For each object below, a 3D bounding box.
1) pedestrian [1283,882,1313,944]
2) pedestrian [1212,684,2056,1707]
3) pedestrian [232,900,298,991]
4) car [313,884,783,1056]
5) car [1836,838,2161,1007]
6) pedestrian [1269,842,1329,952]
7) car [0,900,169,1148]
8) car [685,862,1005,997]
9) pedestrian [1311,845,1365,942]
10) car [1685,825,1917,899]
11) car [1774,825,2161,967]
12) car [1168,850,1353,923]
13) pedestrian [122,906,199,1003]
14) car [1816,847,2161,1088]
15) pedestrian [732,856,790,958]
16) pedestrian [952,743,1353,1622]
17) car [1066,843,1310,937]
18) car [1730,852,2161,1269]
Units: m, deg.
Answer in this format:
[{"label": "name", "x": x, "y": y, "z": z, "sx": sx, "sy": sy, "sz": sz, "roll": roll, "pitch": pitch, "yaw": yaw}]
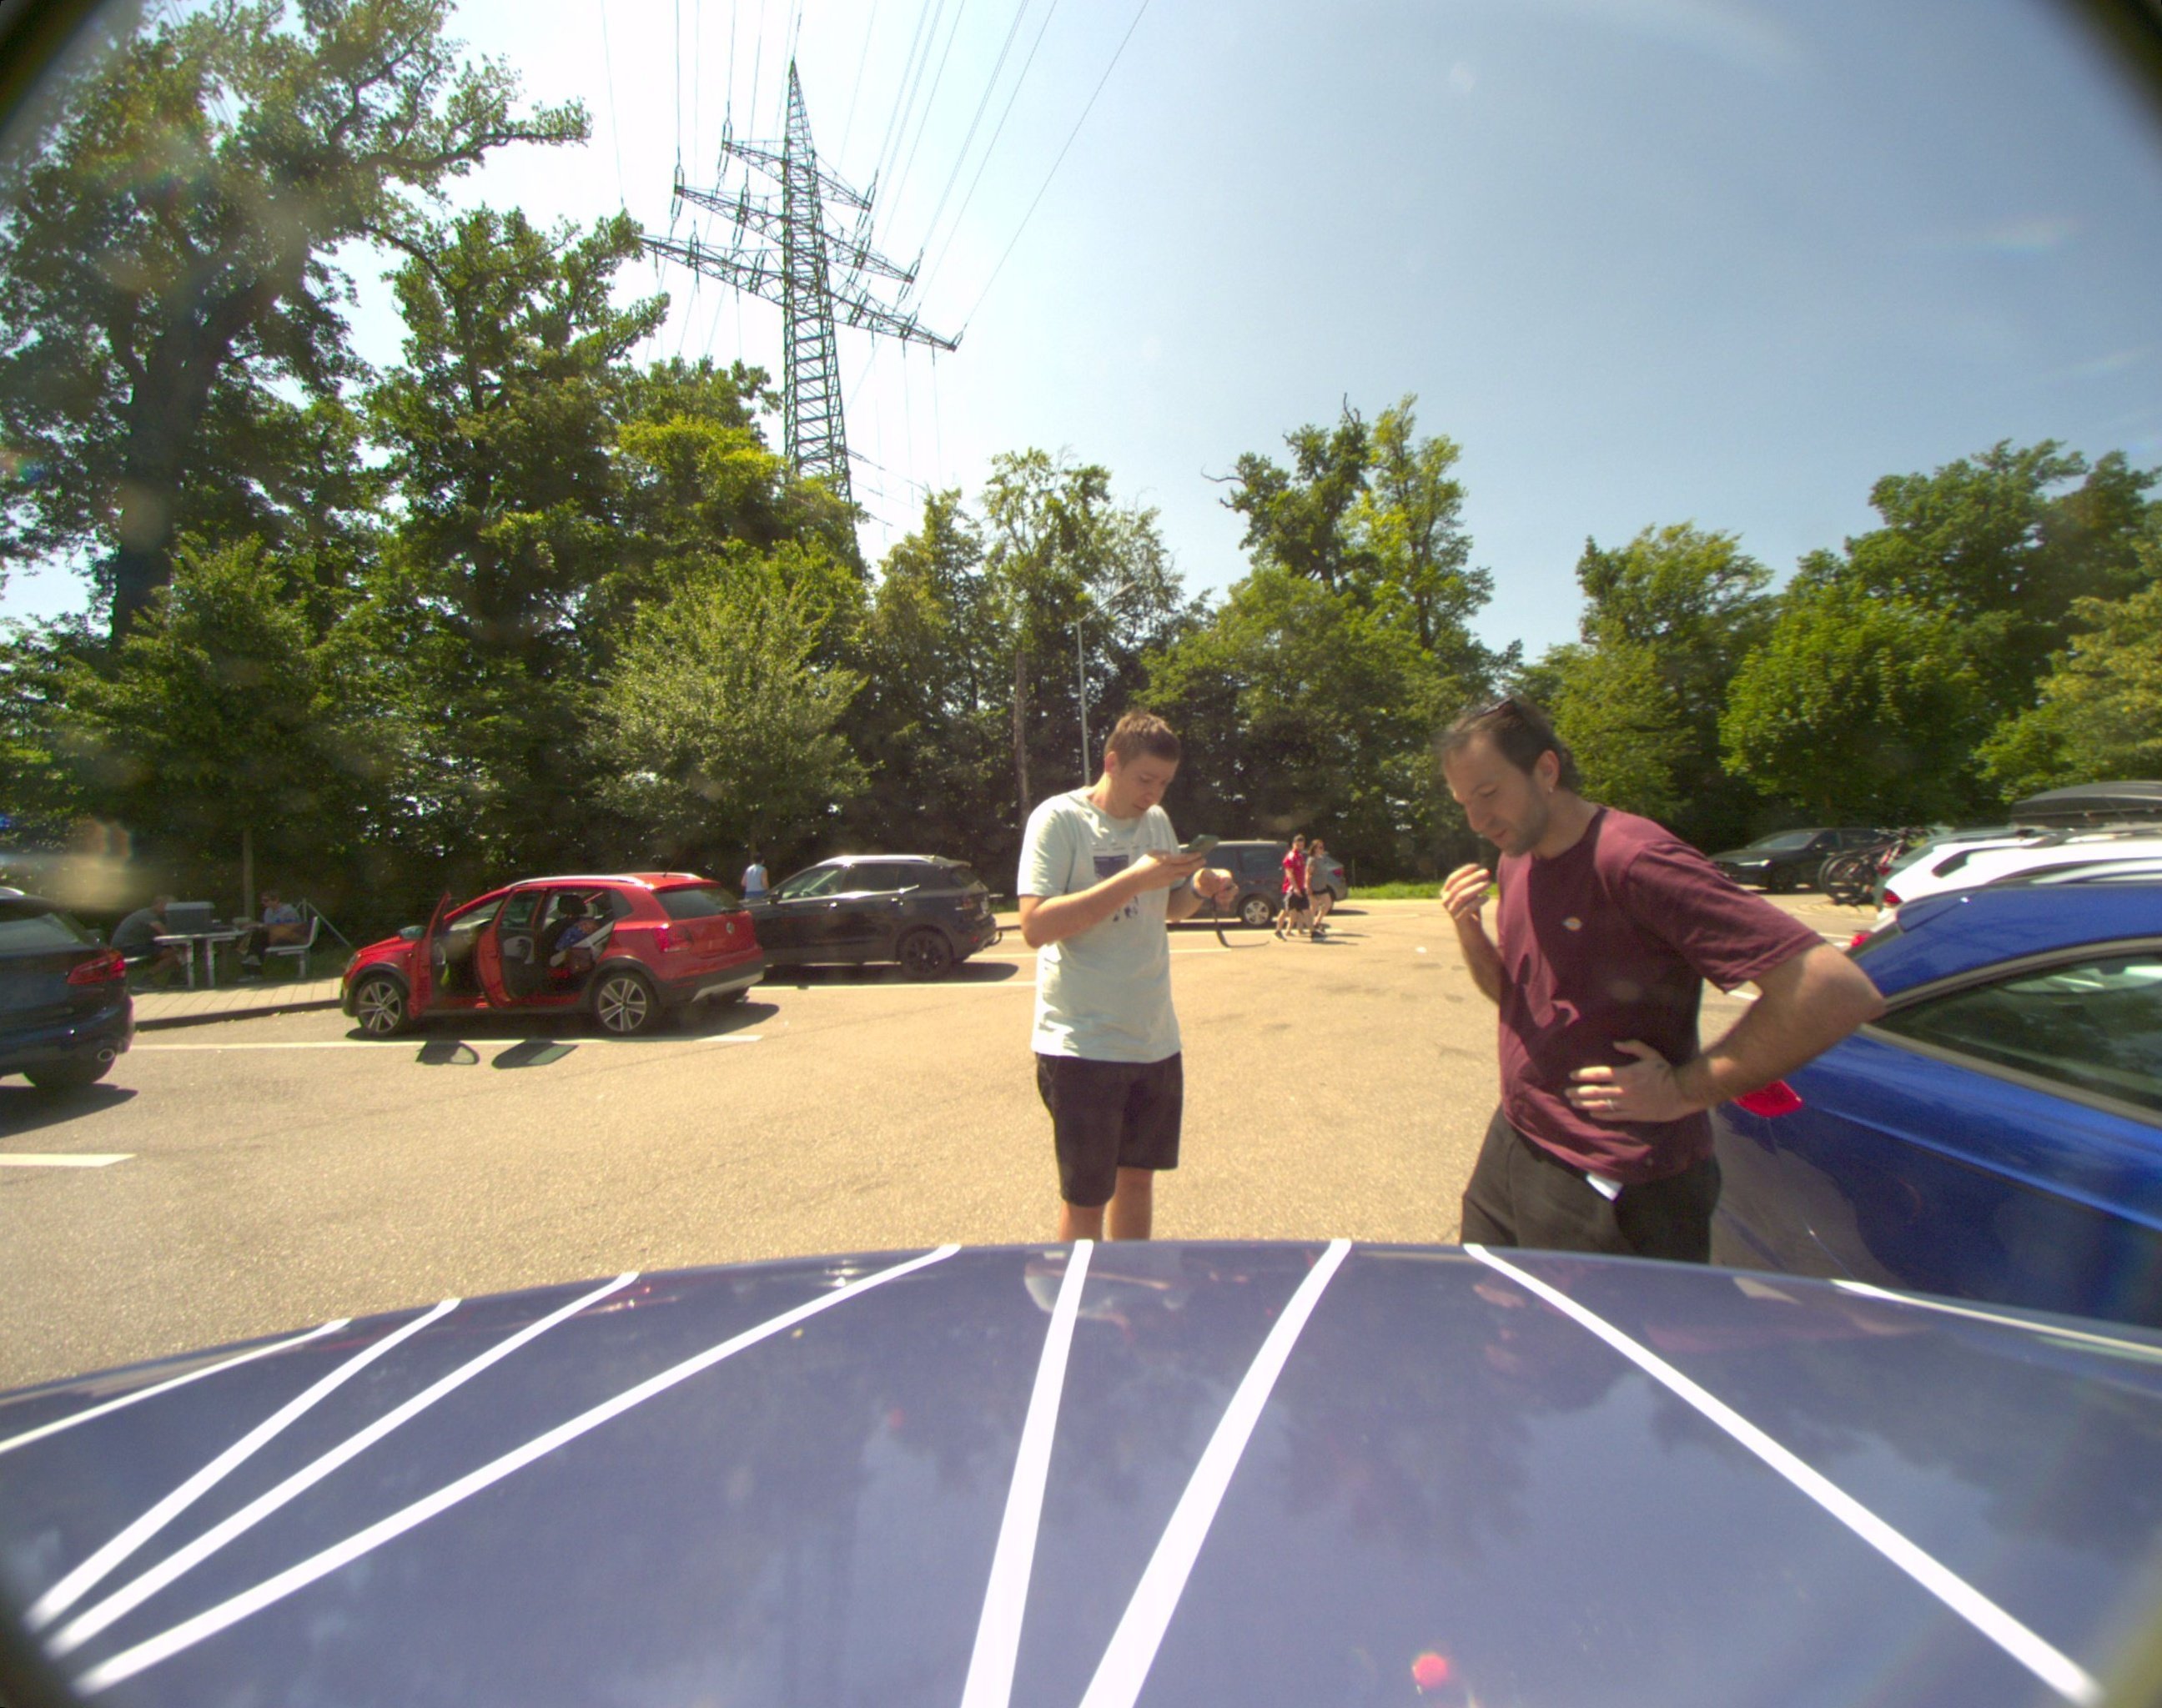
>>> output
[{"label": "pedestrian", "x": 3.771, "y": 1.014, "z": 13.182, "sx": 0.433, "sy": 1.038, "sz": 0.440, "roll": -2, "pitch": 0, "yaw": 21}, {"label": "pedestrian", "x": 0.860, "y": 0.754, "z": 1.307, "sx": 0.862, "sy": 1.823, "sz": 0.863, "roll": -1, "pitch": 2, "yaw": 42}, {"label": "pedestrian", "x": -11.948, "y": 1.316, "z": 11.130, "sx": 0.695, "sy": 1.228, "sz": 0.588, "roll": -3, "pitch": 0, "yaw": 43}, {"label": "car", "x": -5.187, "y": 1.098, "z": 7.639, "sx": 3.730, "sy": 1.440, "sz": 1.591, "roll": -2, "pitch": 0, "yaw": 7}, {"label": "car", "x": 10.111, "y": 0.573, "z": 6.900, "sx": 1.777, "sy": 1.418, "sz": 4.493, "roll": -3, "pitch": -1, "yaw": -5}, {"label": "pedestrian", "x": 3.543, "y": 0.688, "z": 12.347, "sx": 0.832, "sy": 1.722, "sz": 0.677, "roll": -2, "pitch": 0, "yaw": 21}, {"label": "car", "x": -8.882, "y": 1.170, "z": 4.995, "sx": 3.934, "sy": 1.534, "sz": 1.812, "roll": -2, "pitch": 0, "yaw": 7}, {"label": "car", "x": -3.030, "y": 0.955, "z": 10.316, "sx": 3.732, "sy": 1.578, "sz": 1.739, "roll": -2, "pitch": 0, "yaw": 2}, {"label": "pedestrian", "x": 4.509, "y": 0.679, "z": 13.355, "sx": 0.832, "sy": 1.653, "sz": 0.677, "roll": -2, "pitch": 0, "yaw": 18}, {"label": "car", "x": 19.067, "y": 0.185, "z": 20.231, "sx": 4.616, "sy": 1.703, "sz": 1.999, "roll": -2, "pitch": 1, "yaw": -7}, {"label": "car", "x": 12.543, "y": 0.478, "z": 10.371, "sx": 1.777, "sy": 1.541, "sz": 4.493, "roll": -3, "pitch": -1, "yaw": -5}, {"label": "car", "x": 4.146, "y": 0.746, "z": 18.011, "sx": 3.996, "sy": 1.495, "sz": 1.687, "roll": -2, "pitch": 1, "yaw": 3}, {"label": "pedestrian", "x": -12.629, "y": 1.349, "z": 10.441, "sx": 0.695, "sy": 1.228, "sz": 0.588, "roll": -3, "pitch": 0, "yaw": 43}, {"label": "car", "x": 7.478, "y": 0.676, "z": 4.514, "sx": 1.776, "sy": 1.418, "sz": 4.495, "roll": -3, "pitch": -1, "yaw": -1}, {"label": "pedestrian", "x": -5.897, "y": 0.964, "z": 14.029, "sx": 0.765, "sy": 1.821, "sz": 0.520, "roll": -2, "pitch": 1, "yaw": 0}, {"label": "pedestrian", "x": 0.142, "y": 0.716, "z": 2.099, "sx": 0.861, "sy": 1.940, "sz": 0.687, "roll": -2, "pitch": 1, "yaw": -13}, {"label": "car", "x": 2.142, "y": 0.716, "z": 15.473, "sx": 4.619, "sy": 1.701, "sz": 1.740, "roll": -2, "pitch": 0, "yaw": 9}, {"label": "car", "x": 4.875, "y": 0.745, "z": 2.356, "sx": 1.776, "sy": 1.491, "sz": 4.495, "roll": -3, "pitch": -1, "yaw": -1}]
